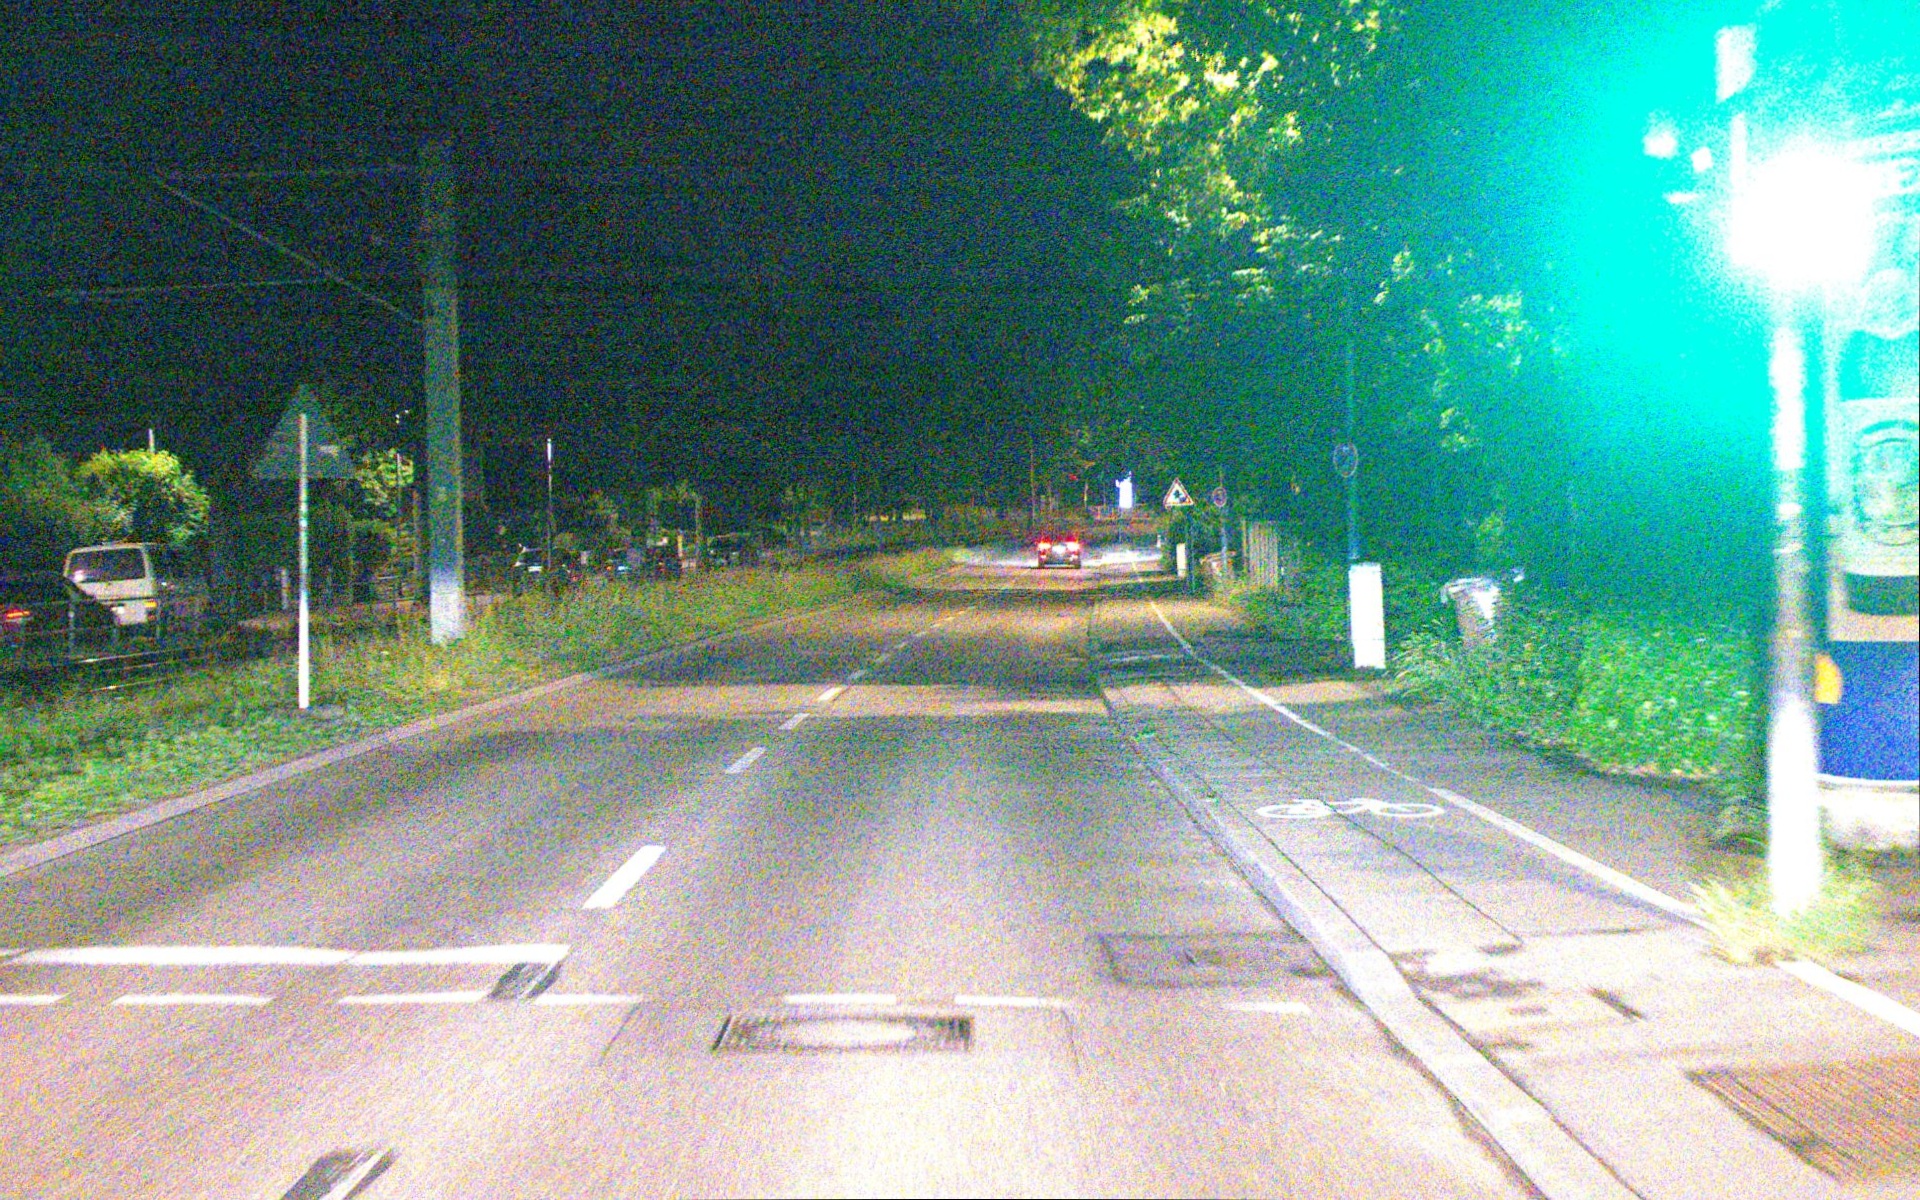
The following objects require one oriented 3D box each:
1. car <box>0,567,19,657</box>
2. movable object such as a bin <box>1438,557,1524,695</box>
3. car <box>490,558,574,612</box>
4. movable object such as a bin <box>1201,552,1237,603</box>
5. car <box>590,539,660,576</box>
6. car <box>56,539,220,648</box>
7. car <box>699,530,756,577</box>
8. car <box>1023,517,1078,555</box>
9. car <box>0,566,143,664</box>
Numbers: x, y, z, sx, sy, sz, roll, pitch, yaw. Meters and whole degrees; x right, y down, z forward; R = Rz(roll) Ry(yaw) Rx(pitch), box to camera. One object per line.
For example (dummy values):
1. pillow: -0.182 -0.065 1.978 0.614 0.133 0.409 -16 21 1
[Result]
1. car: -15.756 0.192 51.291 3.028 1.321 1.534 -1 1 -3
2. movable object such as a bin: 4.627 0.221 30.515 0.724 1.196 0.719 -1 1 9
3. car: -13.785 -0.502 111.023 1.993 1.622 4.677 -1 1 2
4. movable object such as a bin: 6.054 -0.532 80.283 0.833 1.177 0.828 -1 1 5
5. car: -12.709 -1.621 130.699 1.993 1.333 5.432 -1 1 2
6. car: -14.968 -0.151 62.853 1.857 1.897 4.880 -1 1 -1
7. car: -10.893 -2.199 161.312 2.091 2.006 4.000 -5 1 2
8. car: 3.861 -2.737 146.673 2.161 1.577 4.013 0 1 -1
9. car: -15.257 0.220 56.783 1.902 1.517 5.171 -1 1 5
